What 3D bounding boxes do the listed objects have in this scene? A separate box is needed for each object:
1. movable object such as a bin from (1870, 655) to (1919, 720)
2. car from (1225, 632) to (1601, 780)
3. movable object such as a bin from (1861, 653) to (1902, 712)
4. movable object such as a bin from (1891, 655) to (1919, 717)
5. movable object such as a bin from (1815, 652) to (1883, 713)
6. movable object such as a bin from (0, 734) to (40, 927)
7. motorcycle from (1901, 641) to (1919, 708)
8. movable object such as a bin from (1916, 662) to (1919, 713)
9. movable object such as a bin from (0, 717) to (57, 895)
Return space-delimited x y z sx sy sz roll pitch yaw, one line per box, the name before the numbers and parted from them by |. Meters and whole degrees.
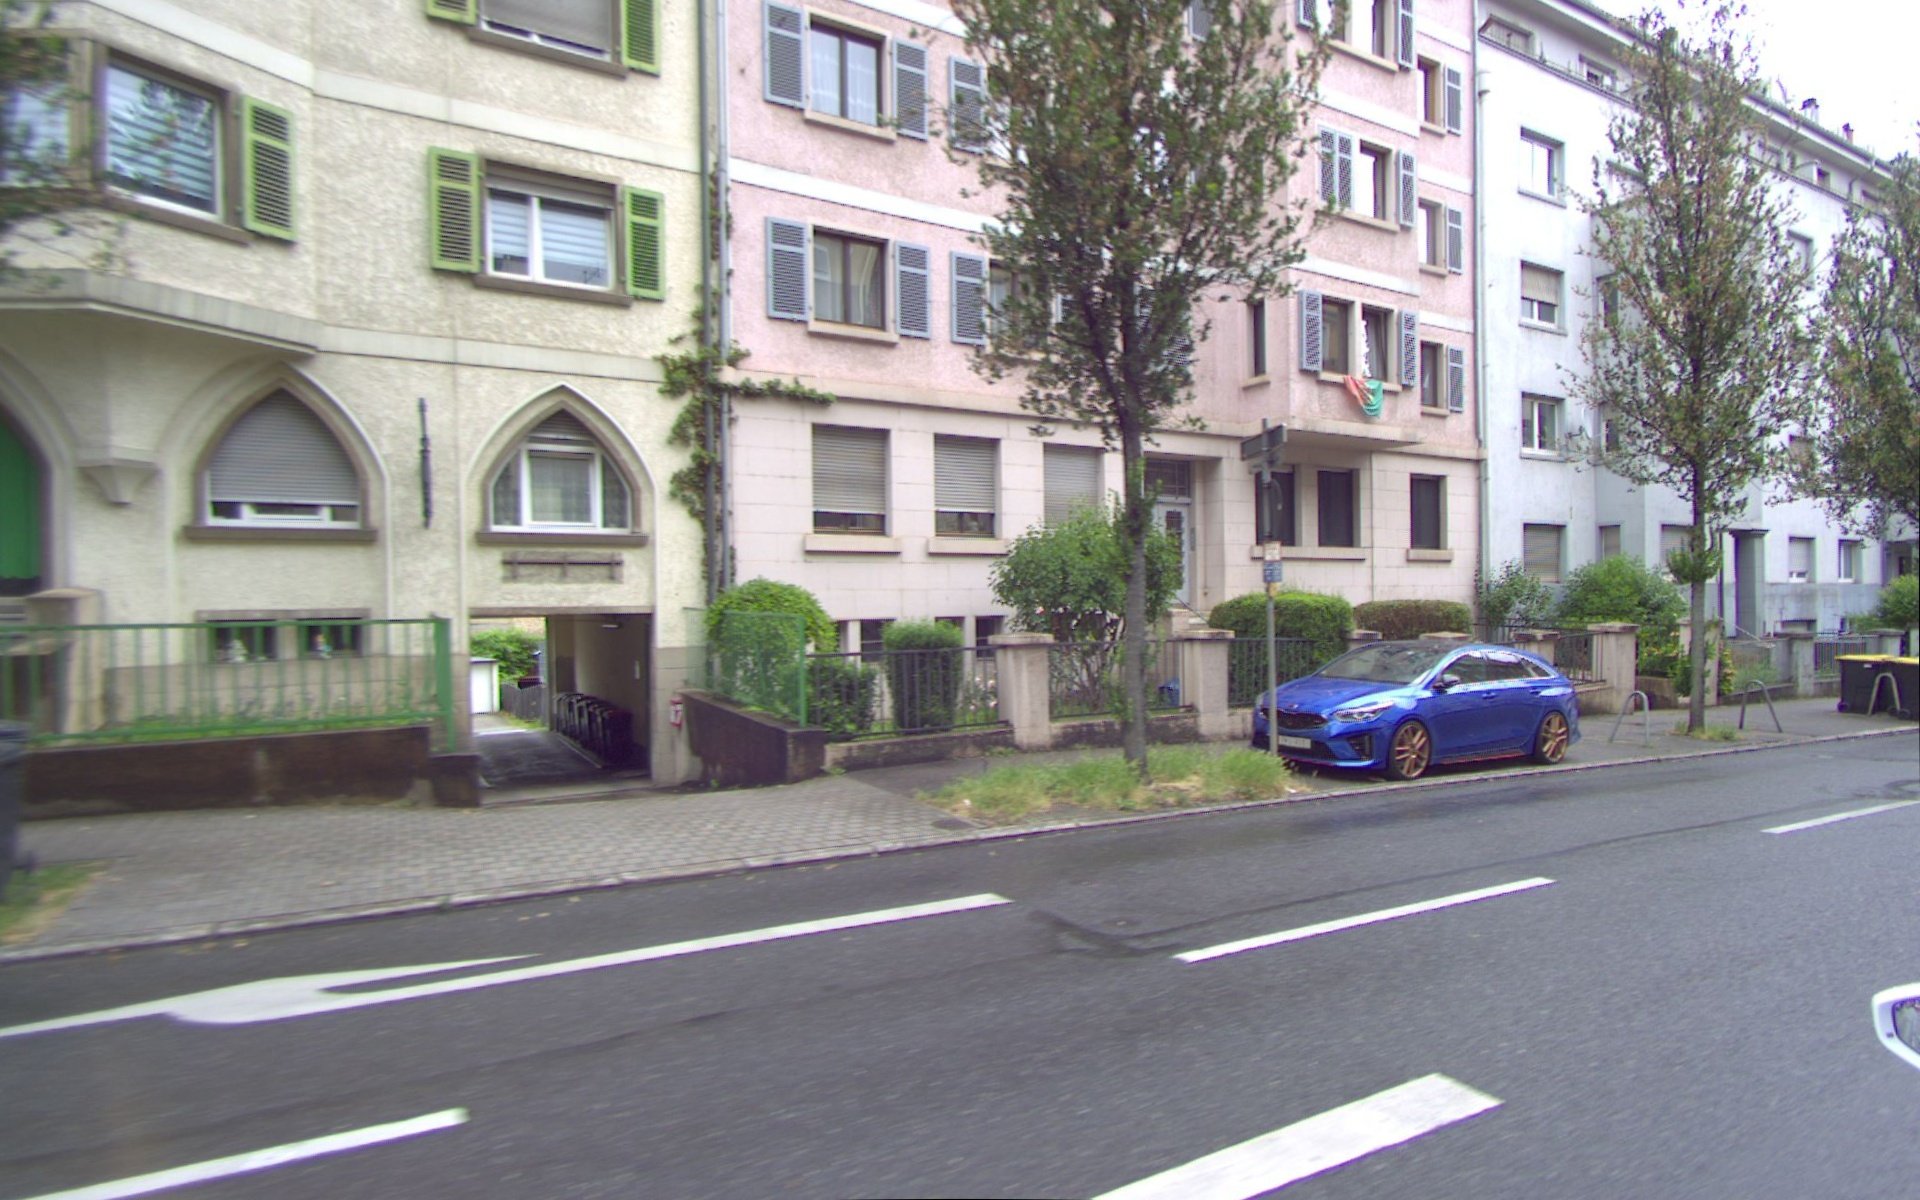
movable object such as a bin | 16.907 1.566 17.928 0.477 1.072 0.821 2 2 -28
car | 5.351 1.136 11.678 4.549 1.404 1.671 2 -1 -30
movable object such as a bin | 17.725 1.569 19.321 0.479 1.072 0.467 2 2 -39
movable object such as a bin | 17.547 1.579 18.491 0.479 1.072 0.467 2 2 -39
movable object such as a bin | 16.819 1.549 19.007 0.477 1.072 0.821 2 1 -28
movable object such as a bin | -4.996 1.147 4.974 0.566 0.901 0.362 2 1 -31
motorcycle | 19.570 1.494 19.743 0.727 1.332 1.812 0 -1 11
movable object such as a bin | 18.344 1.602 18.768 0.478 1.072 0.522 2 2 -29
movable object such as a bin | -5.451 1.143 5.574 0.566 0.923 0.362 2 1 -31
